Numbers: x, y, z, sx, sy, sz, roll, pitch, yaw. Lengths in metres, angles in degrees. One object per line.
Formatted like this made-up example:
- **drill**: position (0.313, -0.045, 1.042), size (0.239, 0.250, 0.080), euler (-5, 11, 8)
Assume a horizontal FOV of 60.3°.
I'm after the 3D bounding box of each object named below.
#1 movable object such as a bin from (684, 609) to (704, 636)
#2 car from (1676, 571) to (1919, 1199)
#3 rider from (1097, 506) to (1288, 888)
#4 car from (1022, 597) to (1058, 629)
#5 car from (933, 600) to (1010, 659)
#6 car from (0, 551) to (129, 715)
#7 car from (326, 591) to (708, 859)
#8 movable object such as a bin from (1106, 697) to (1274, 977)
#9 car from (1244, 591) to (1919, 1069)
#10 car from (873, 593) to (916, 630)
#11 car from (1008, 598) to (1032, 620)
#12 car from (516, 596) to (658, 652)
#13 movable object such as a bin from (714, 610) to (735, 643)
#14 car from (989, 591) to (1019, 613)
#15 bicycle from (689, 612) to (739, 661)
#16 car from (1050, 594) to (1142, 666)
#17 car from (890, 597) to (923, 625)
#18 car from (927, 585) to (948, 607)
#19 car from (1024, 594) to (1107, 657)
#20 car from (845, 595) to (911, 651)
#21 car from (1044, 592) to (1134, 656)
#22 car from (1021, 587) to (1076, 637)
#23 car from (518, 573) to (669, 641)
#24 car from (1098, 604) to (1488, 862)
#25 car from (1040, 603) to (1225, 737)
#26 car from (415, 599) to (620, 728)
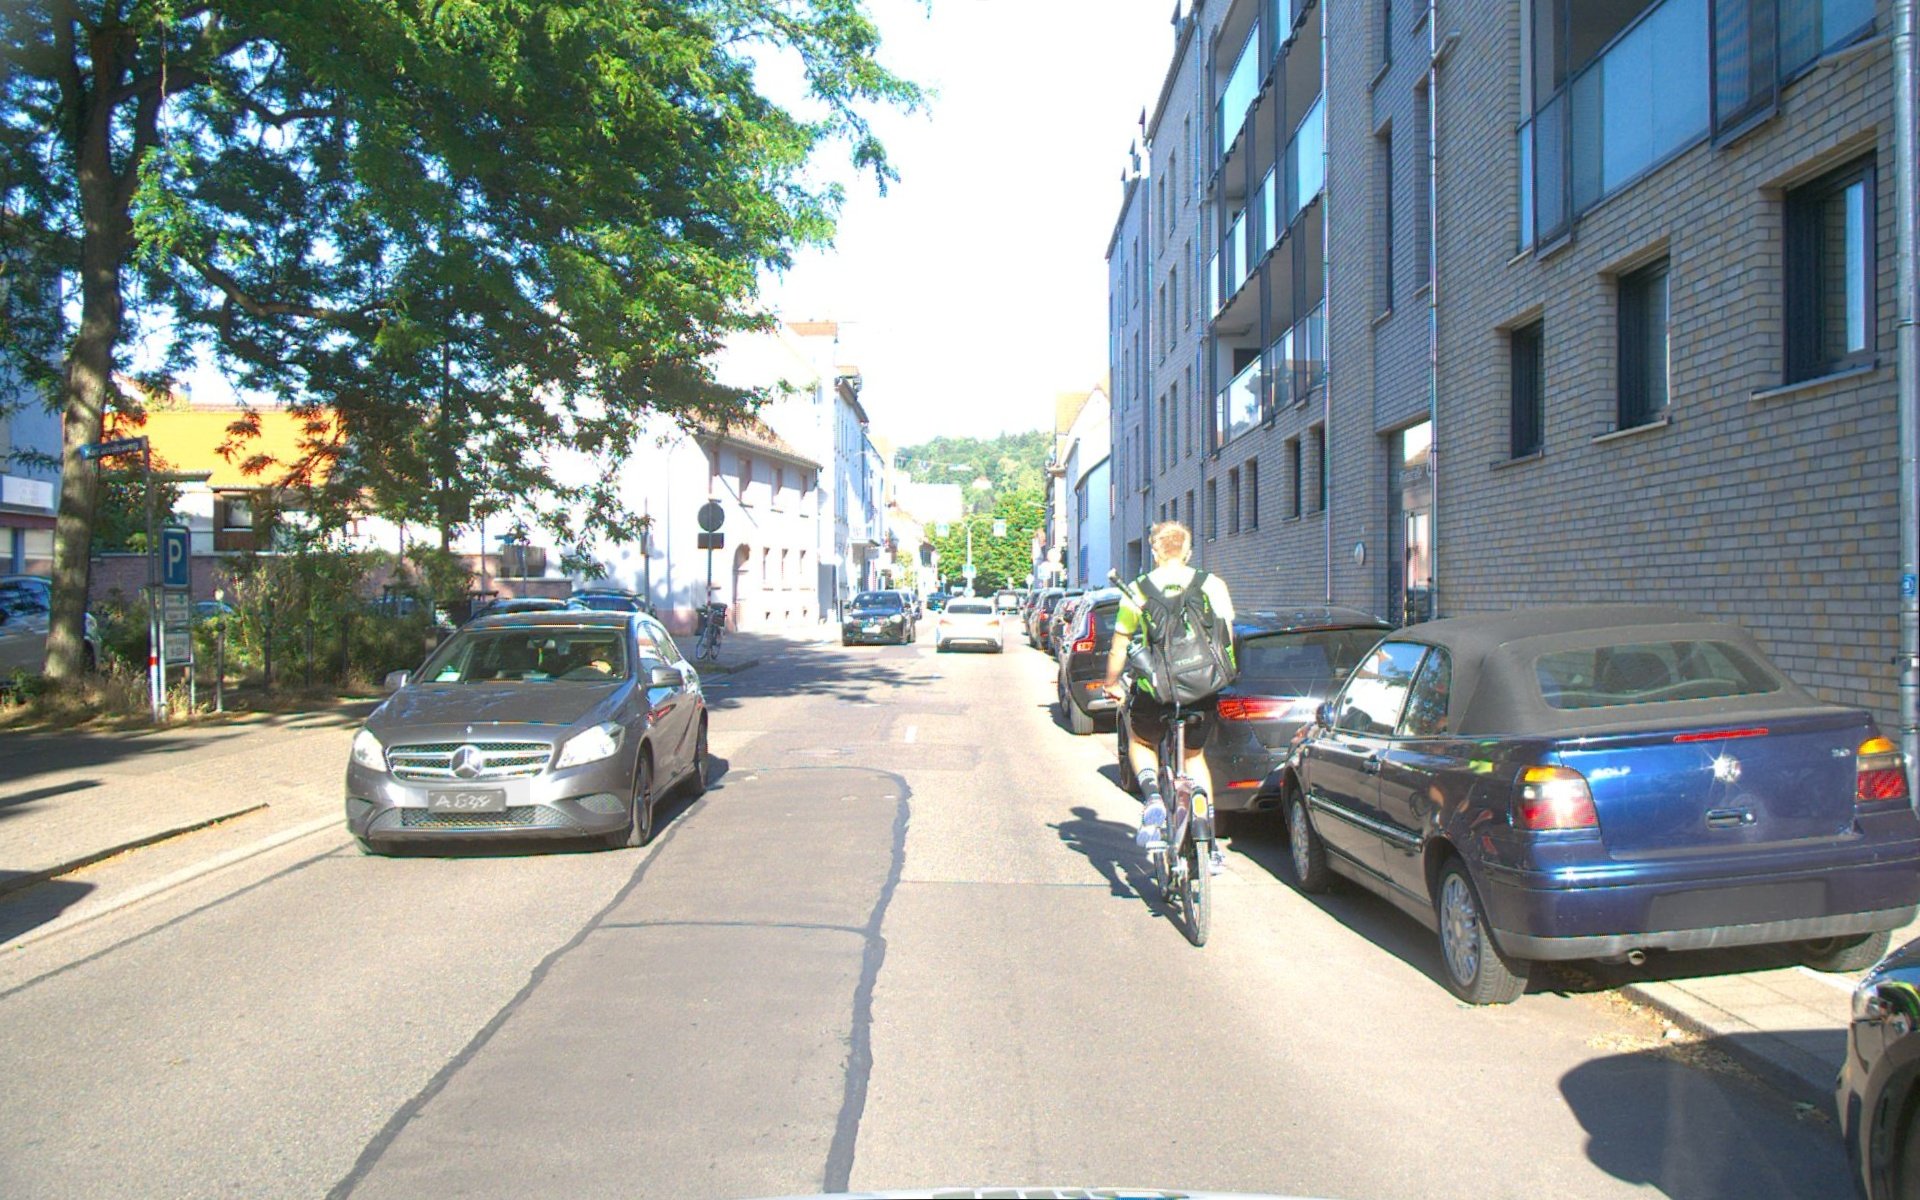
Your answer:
- **movable object such as a bin**: position (-8.877, 0.763, 55.248), size (0.586, 0.887, 0.606), euler (0, 0, -1)
- **car**: position (2.710, 0.683, 1.819), size (1.690, 1.556, 4.624), euler (-3, 0, -1)
- **rider**: position (1.034, 0.422, 7.560), size (0.640, 1.589, 1.083), euler (3, -2, -1)
- **car**: position (4.023, 0.637, 83.652), size (1.705, 1.518, 4.440), euler (-2, 0, 2)
- **car**: position (0.261, 0.768, 44.404), size (1.953, 1.492, 3.999), euler (0, 0, -1)
- **car**: position (-12.211, 0.377, 20.293), size (1.806, 1.928, 4.903), euler (0, 0, -4)
- **car**: position (-2.807, 0.709, 11.366), size (1.771, 1.492, 3.997), euler (0, 0, -4)
- **movable object such as a bin**: position (1.020, 1.020, 7.661), size (0.445, 1.051, 1.839), euler (3, -1, -1)
- **car**: position (2.614, 0.772, 7.676), size (1.630, 1.542, 4.216), euler (-2, 0, -3)
- **car**: position (-3.050, 0.526, 77.629), size (1.953, 1.676, 5.220), euler (0, 0, -2)
- **car**: position (5.370, 0.804, 148.418), size (1.970, 1.885, 4.000), euler (1, 0, 0)
- **car**: position (-11.014, 0.698, 49.068), size (3.689, 1.556, 2.000), euler (-1, 1, 1)
- **movable object such as a bin**: position (-8.026, 0.888, 56.345), size (0.586, 1.113, 0.751), euler (1, 0, 1)
- **car**: position (2.964, 0.146, 112.757), size (1.952, 1.492, 4.000), euler (0, 0, 1)
- **bicycle**: position (-5.411, 0.794, 36.474), size (0.689, 1.020, 1.942), euler (1, 0, 4)
- **car**: position (3.010, 0.639, 37.324), size (1.678, 1.429, 4.073), euler (-4, 0, 0)
- **car**: position (-3.029, 0.653, 94.208), size (1.695, 1.525, 3.959), euler (-1, -1, 0)
- **car**: position (-2.113, -0.354, 154.426), size (1.953, 2.049, 3.999), euler (0, 0, -1)
- **car**: position (2.967, 0.681, 47.356), size (1.953, 1.682, 4.761), euler (0, 1, -2)
- **car**: position (-2.441, 0.665, 49.885), size (1.900, 1.603, 4.317), euler (0, 0, -2)
- **car**: position (3.233, 0.569, 42.245), size (1.953, 1.532, 4.366), euler (0, 0, 0)
- **car**: position (3.189, 0.409, 60.268), size (1.816, 1.665, 4.624), euler (-3, 0, 1)
- **car**: position (-11.657, 0.198, 52.776), size (4.273, 1.825, 1.989), euler (3, 3, 2)
- **car**: position (2.203, 0.802, 12.305), size (1.663, 1.493, 4.716), euler (-2, 0, -3)
- **car**: position (2.041, 0.791, 20.673), size (1.779, 1.492, 4.269), euler (0, 0, -1)
- **car**: position (-5.659, 0.759, 21.633), size (1.662, 1.518, 3.999), euler (0, 0, -1)
